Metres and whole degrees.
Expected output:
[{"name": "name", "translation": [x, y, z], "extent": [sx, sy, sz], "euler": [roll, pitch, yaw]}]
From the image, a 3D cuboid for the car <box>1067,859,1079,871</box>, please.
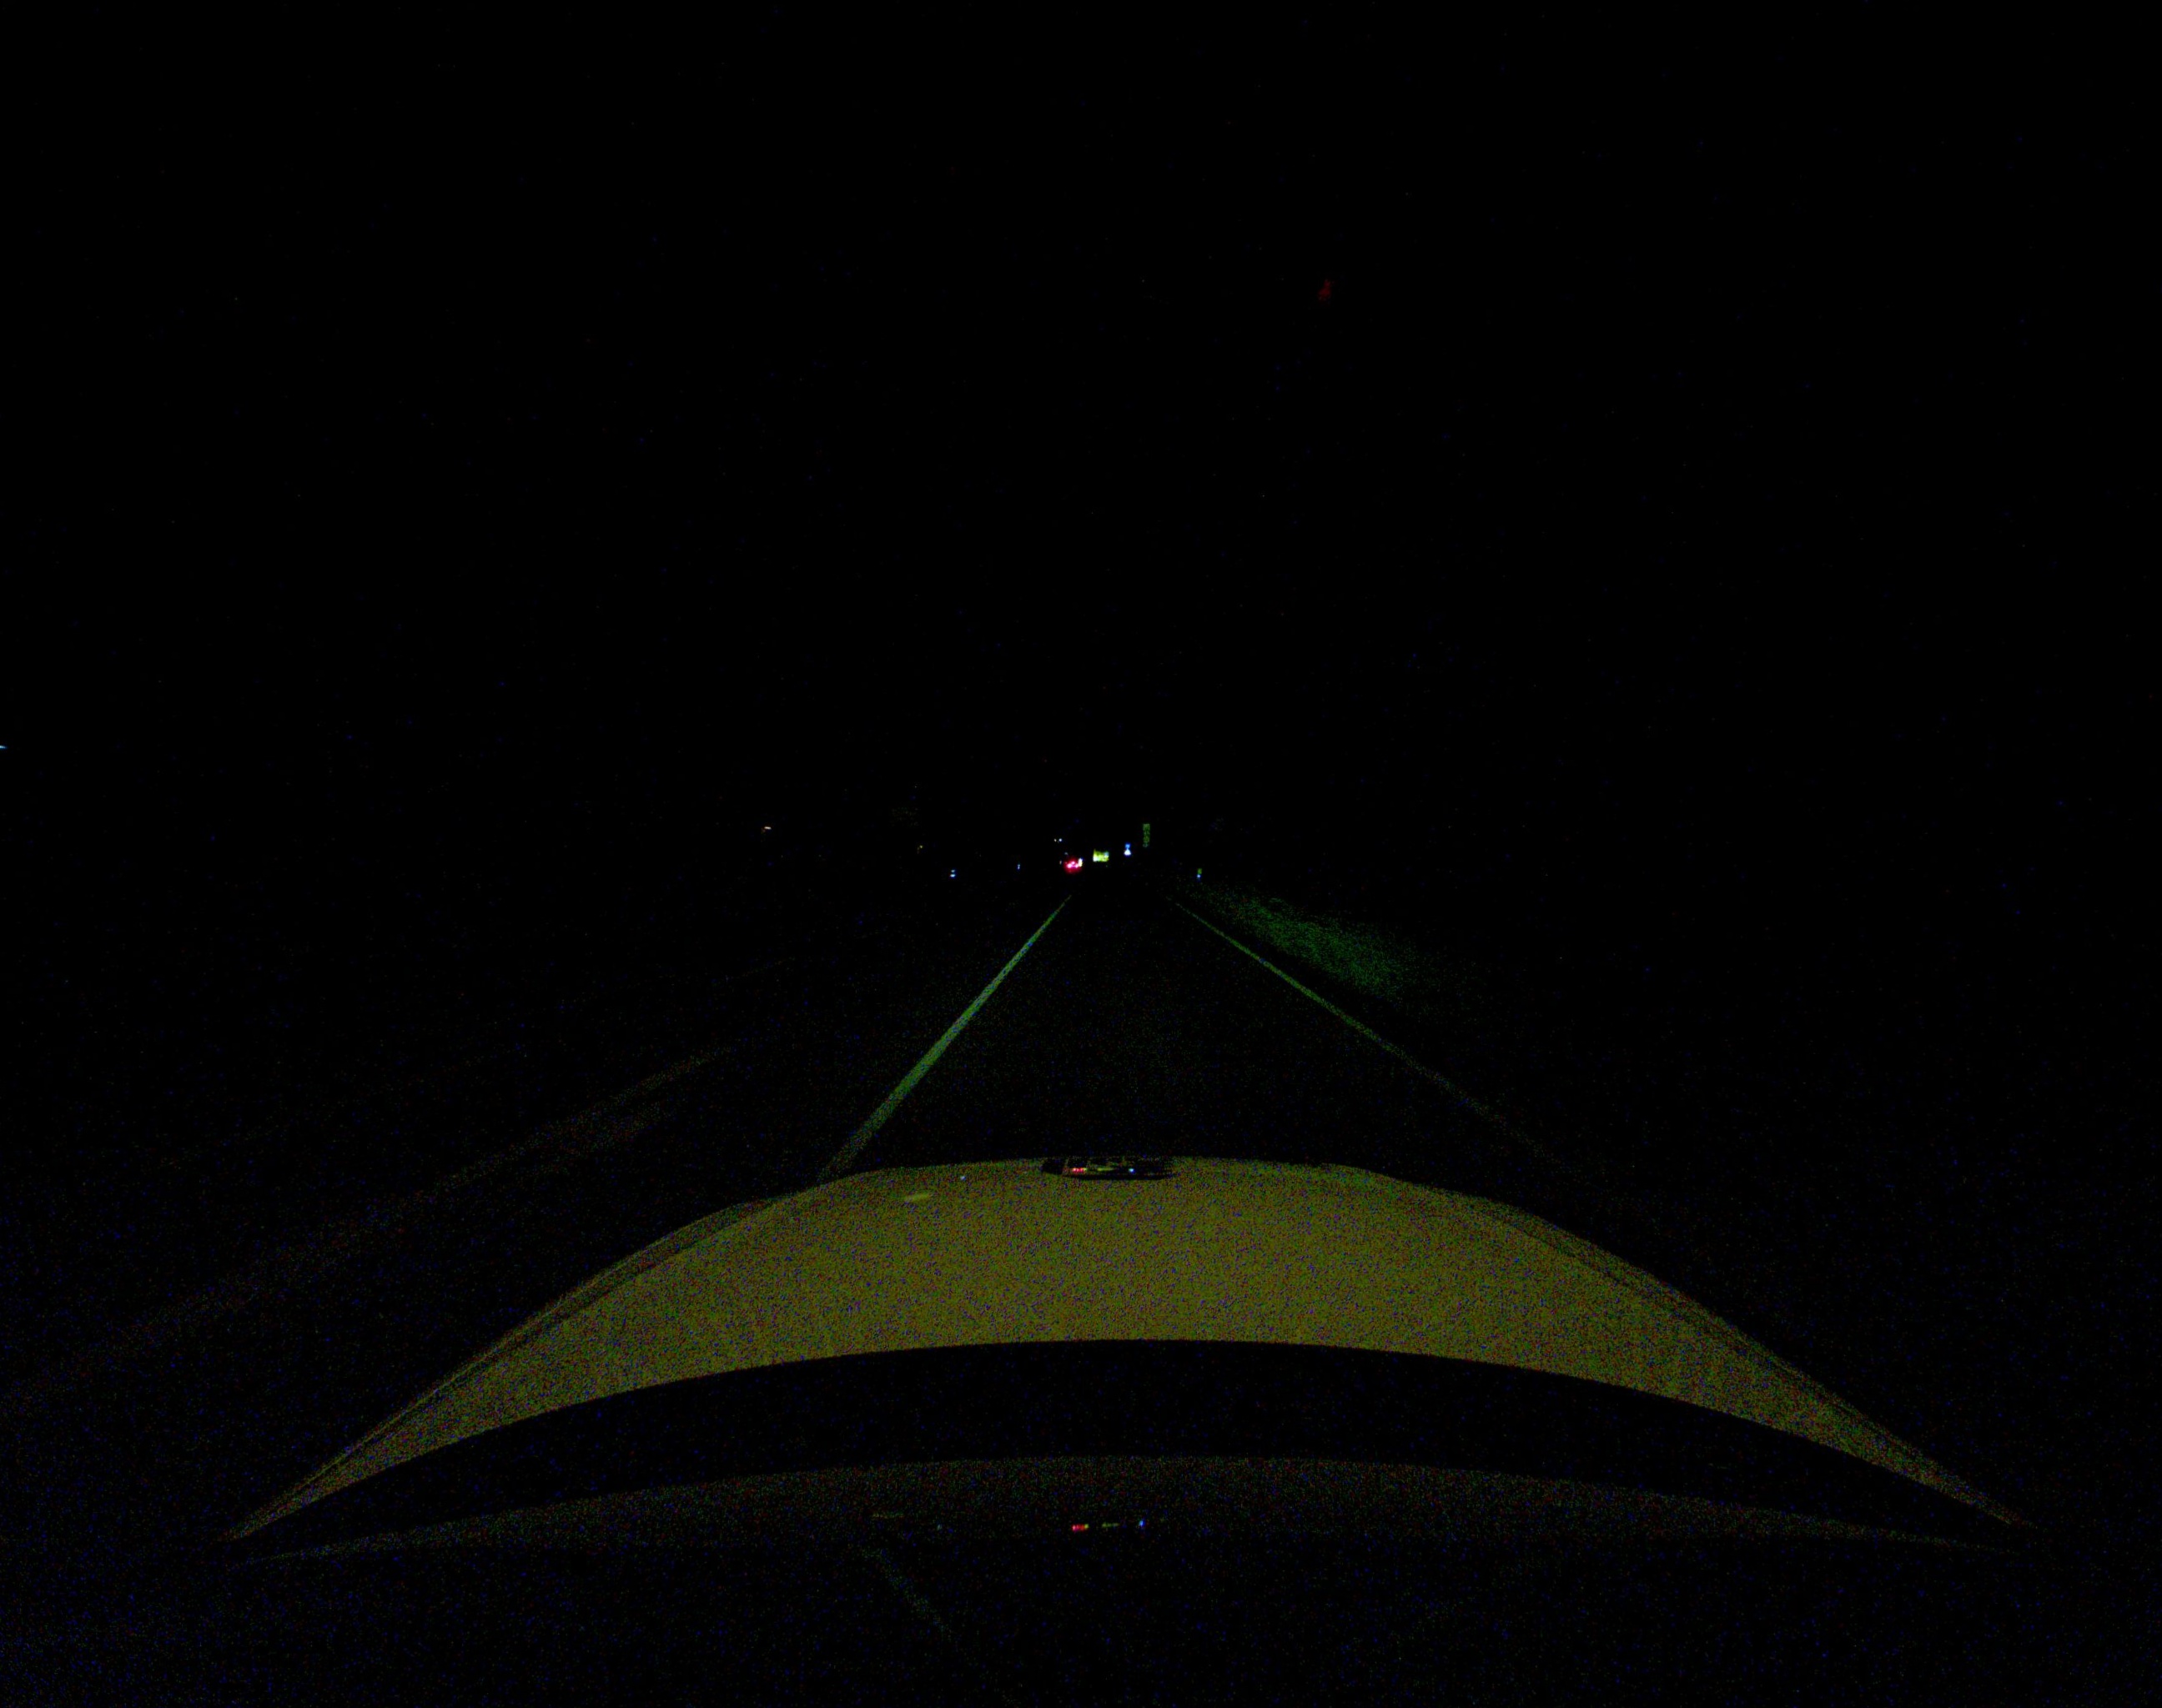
[{"name": "car", "translation": [-1.568, 2.151, 158.058], "extent": [1.989, 2.014, 3.994], "euler": [1, -3, -4]}]
